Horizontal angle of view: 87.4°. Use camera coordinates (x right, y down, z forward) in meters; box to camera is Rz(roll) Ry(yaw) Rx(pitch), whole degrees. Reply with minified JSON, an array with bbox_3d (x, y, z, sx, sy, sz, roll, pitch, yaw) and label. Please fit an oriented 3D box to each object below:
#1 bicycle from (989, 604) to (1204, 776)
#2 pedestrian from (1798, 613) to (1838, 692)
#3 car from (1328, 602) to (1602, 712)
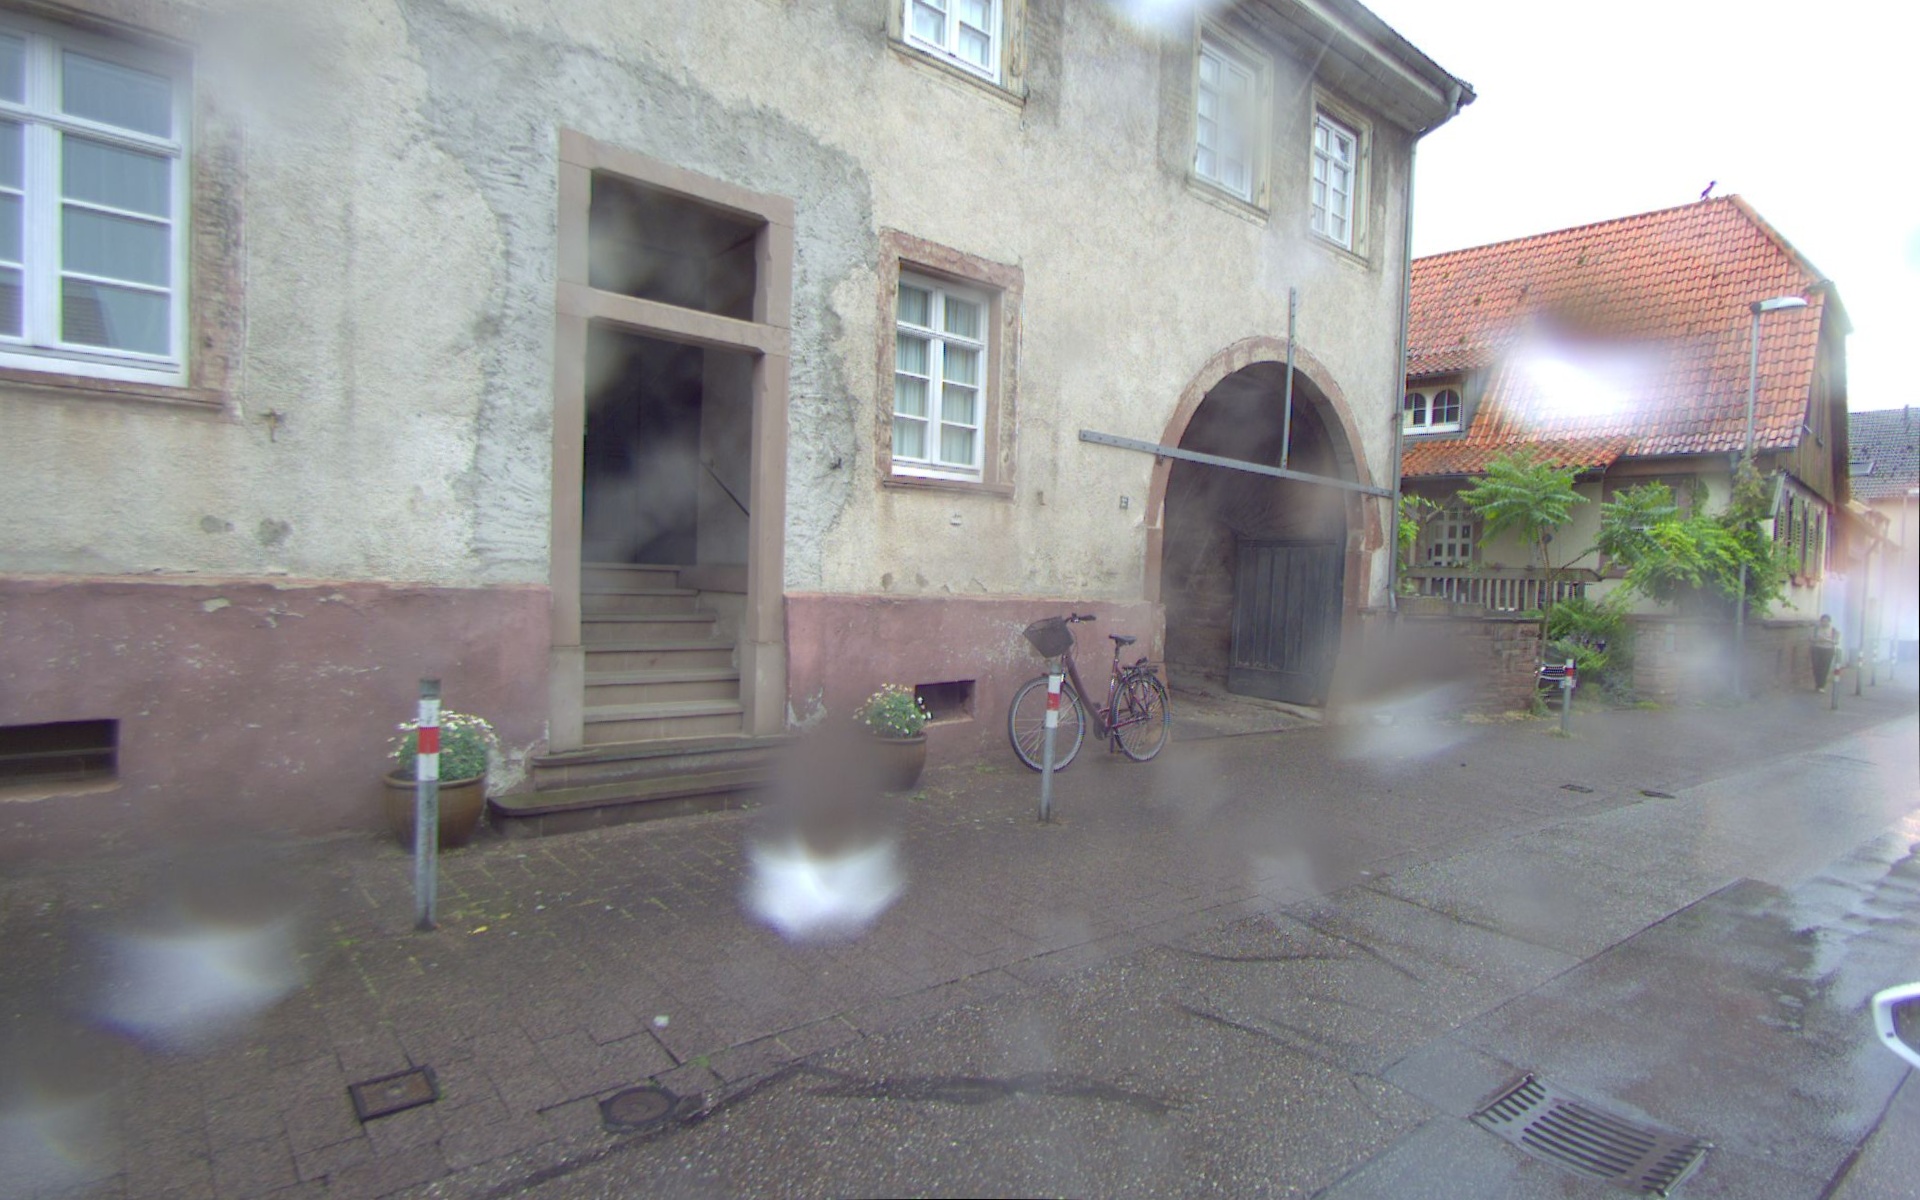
[{"bbox_3d":[1.109,0.669,7.875,1.819,1.196,0.479,2,2,-39],"label":"bicycle"},{"bbox_3d":[17.373,1.044,20.344,0.561,1.551,0.566,2,0,41],"label":"pedestrian"},{"bbox_3d":[7.859,0.809,15.882,1.580,1.394,3.501,1,1,-37],"label":"car"}]
